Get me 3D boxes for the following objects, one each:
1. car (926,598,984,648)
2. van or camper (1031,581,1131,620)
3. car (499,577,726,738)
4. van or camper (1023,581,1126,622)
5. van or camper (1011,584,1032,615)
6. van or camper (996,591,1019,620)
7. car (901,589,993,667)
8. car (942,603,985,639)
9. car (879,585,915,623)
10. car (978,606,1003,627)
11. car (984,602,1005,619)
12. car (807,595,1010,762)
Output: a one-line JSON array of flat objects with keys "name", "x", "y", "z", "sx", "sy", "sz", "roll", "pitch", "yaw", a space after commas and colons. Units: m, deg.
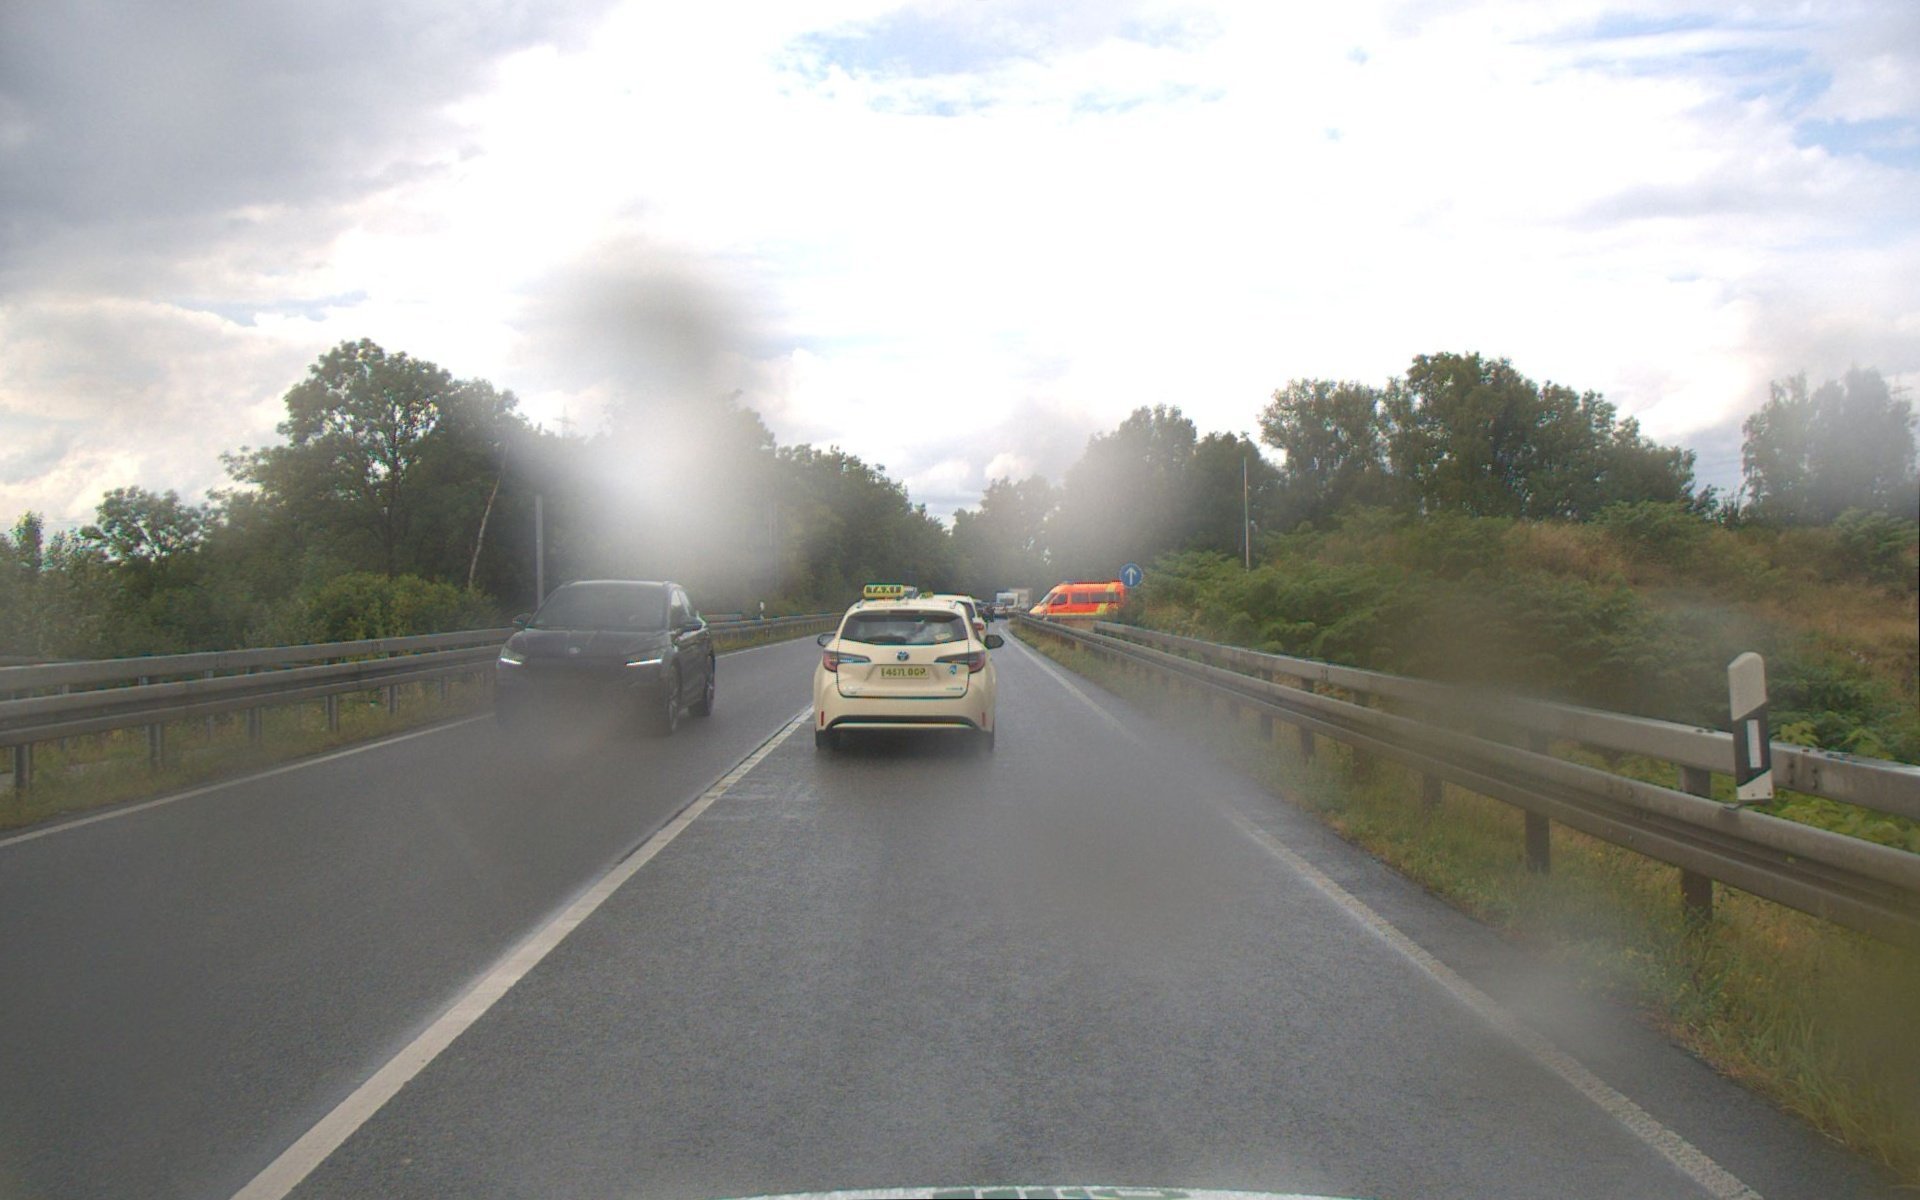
[{"name": "car", "x": -0.211, "y": 0.733, "z": 54.541, "sx": 1.817, "sy": 1.468, "sz": 4.170, "roll": 1, "pitch": 1, "yaw": -1}, {"name": "van or camper", "x": 7.173, "y": 0.036, "z": 98.091, "sx": 5.585, "sy": 2.280, "sz": 2.012, "roll": 0, "pitch": 0, "yaw": -16}, {"name": "car", "x": -3.774, "y": 0.550, "z": 18.683, "sx": 1.743, "sy": 1.588, "sz": 4.301, "roll": 1, "pitch": 1, "yaw": -1}, {"name": "van or camper", "x": 6.634, "y": 0.071, "z": 95.717, "sx": 5.585, "sy": 2.280, "sz": 2.012, "roll": 0, "pitch": 0, "yaw": -16}, {"name": "van or camper", "x": 7.376, "y": -0.096, "z": 199.694, "sx": 2.285, "sy": 3.625, "sz": 6.307, "roll": 1, "pitch": 1, "yaw": 0}, {"name": "van or camper", "x": 4.950, "y": 0.599, "z": 173.284, "sx": 2.285, "sy": 2.914, "sz": 6.307, "roll": 1, "pitch": 1, "yaw": 0}, {"name": "car", "x": -0.298, "y": 0.546, "z": 35.074, "sx": 1.817, "sy": 1.468, "sz": 4.170, "roll": 1, "pitch": 1, "yaw": -1}, {"name": "car", "x": 0.134, "y": 0.940, "z": 75.194, "sx": 1.817, "sy": 1.468, "sz": 4.170, "roll": 1, "pitch": 1, "yaw": -1}, {"name": "car", "x": -3.671, "y": 0.214, "z": 97.016, "sx": 1.953, "sy": 2.165, "sz": 4.894, "roll": 1, "pitch": 1, "yaw": 0}, {"name": "car", "x": 2.304, "y": 1.226, "z": 124.050, "sx": 1.816, "sy": 1.468, "sz": 4.172, "roll": 1, "pitch": 1, "yaw": 2}, {"name": "car", "x": 3.188, "y": 0.954, "z": 151.511, "sx": 1.816, "sy": 1.468, "sz": 4.172, "roll": 1, "pitch": 1, "yaw": 2}, {"name": "car", "x": -0.505, "y": 0.703, "z": 17.002, "sx": 1.817, "sy": 1.418, "sz": 4.170, "roll": 1, "pitch": 1, "yaw": -1}]
